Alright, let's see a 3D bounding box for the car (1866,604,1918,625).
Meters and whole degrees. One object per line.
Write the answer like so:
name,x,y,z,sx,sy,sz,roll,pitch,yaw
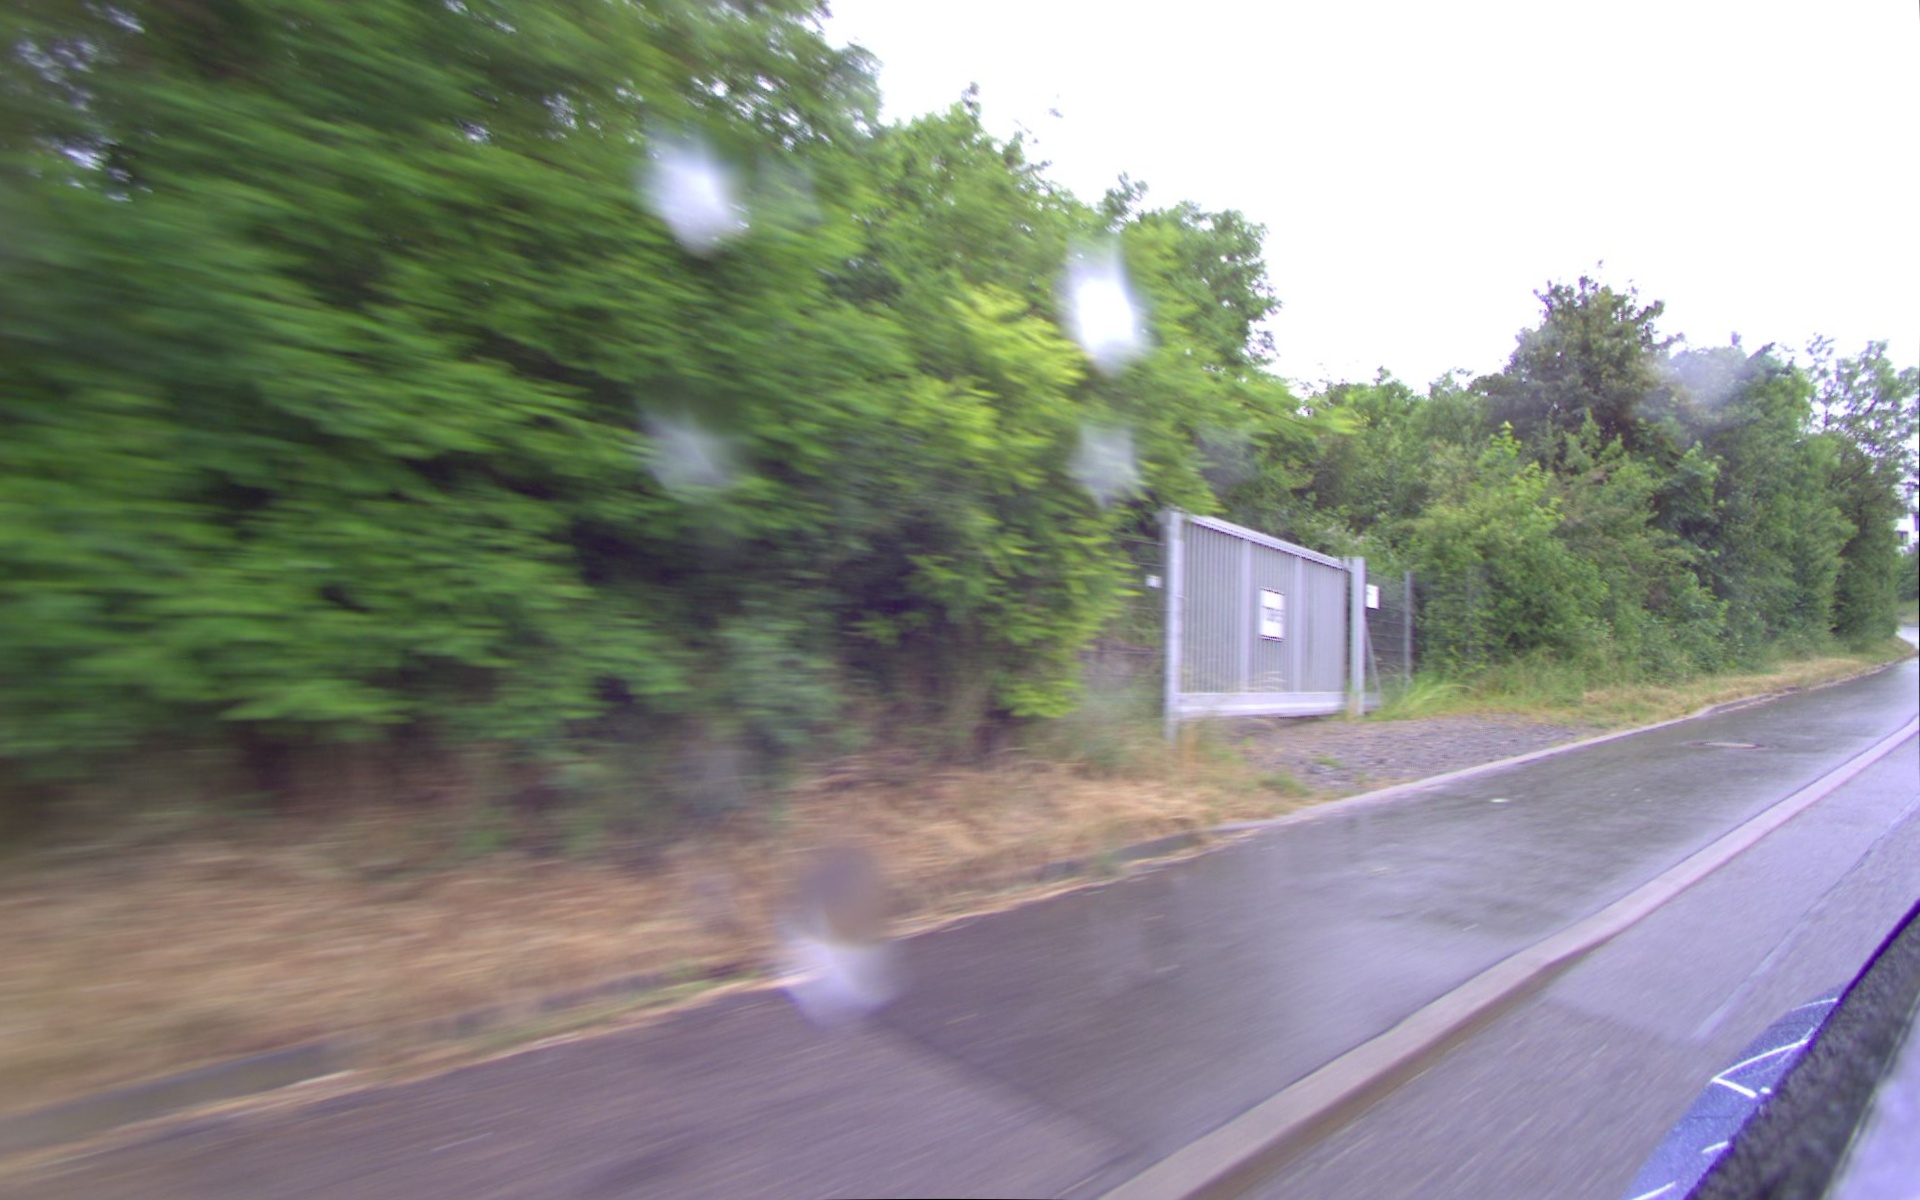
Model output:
car,72.165,1.119,78.447,1.852,1.572,4.224,-2,-2,27
